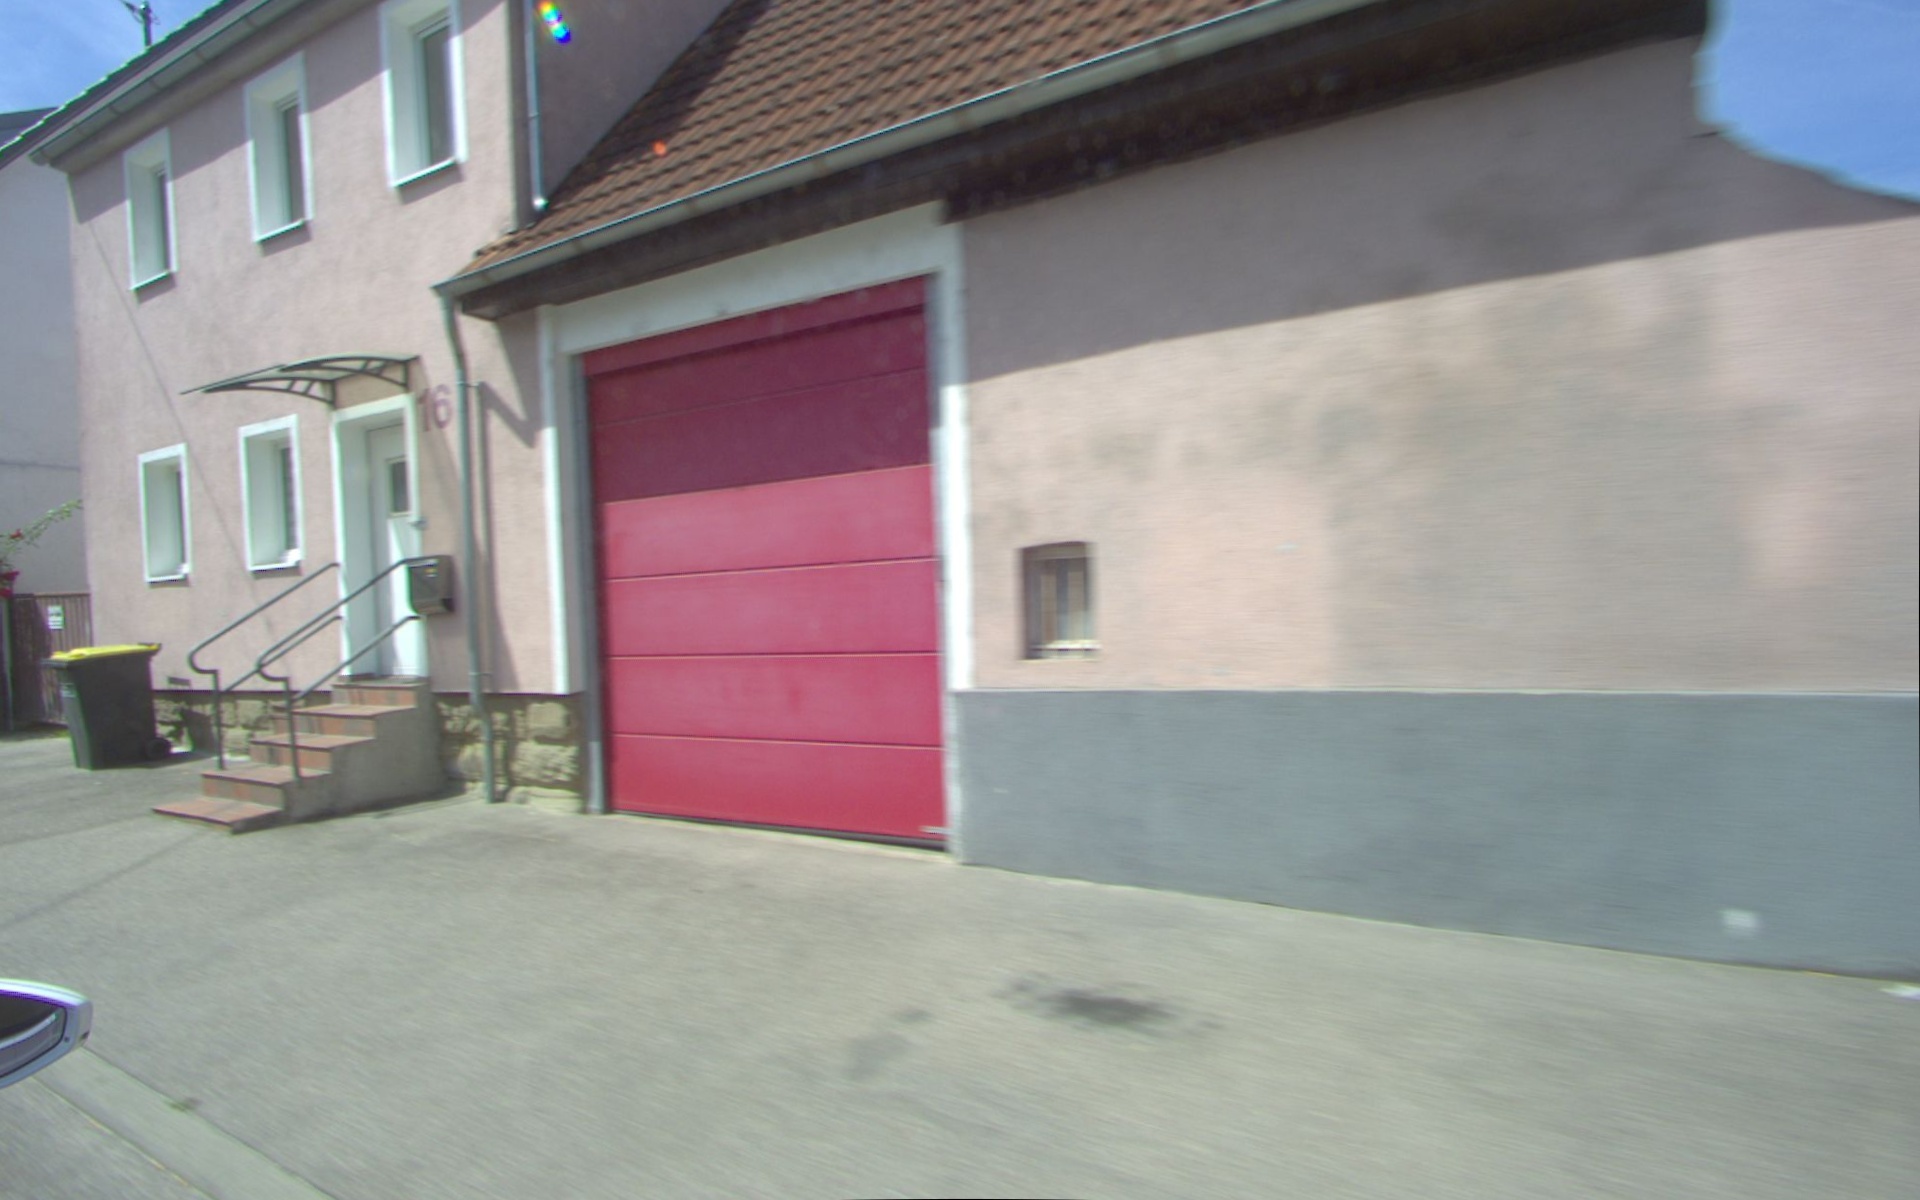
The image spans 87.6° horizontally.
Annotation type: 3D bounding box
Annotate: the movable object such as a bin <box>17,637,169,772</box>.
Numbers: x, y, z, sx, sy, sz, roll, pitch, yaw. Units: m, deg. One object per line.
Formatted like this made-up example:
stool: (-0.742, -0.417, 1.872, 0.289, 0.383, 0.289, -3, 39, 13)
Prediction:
movable object such as a bin: (-7.690, 0.899, 8.896, 0.822, 1.065, 0.677, -1, 5, 27)
